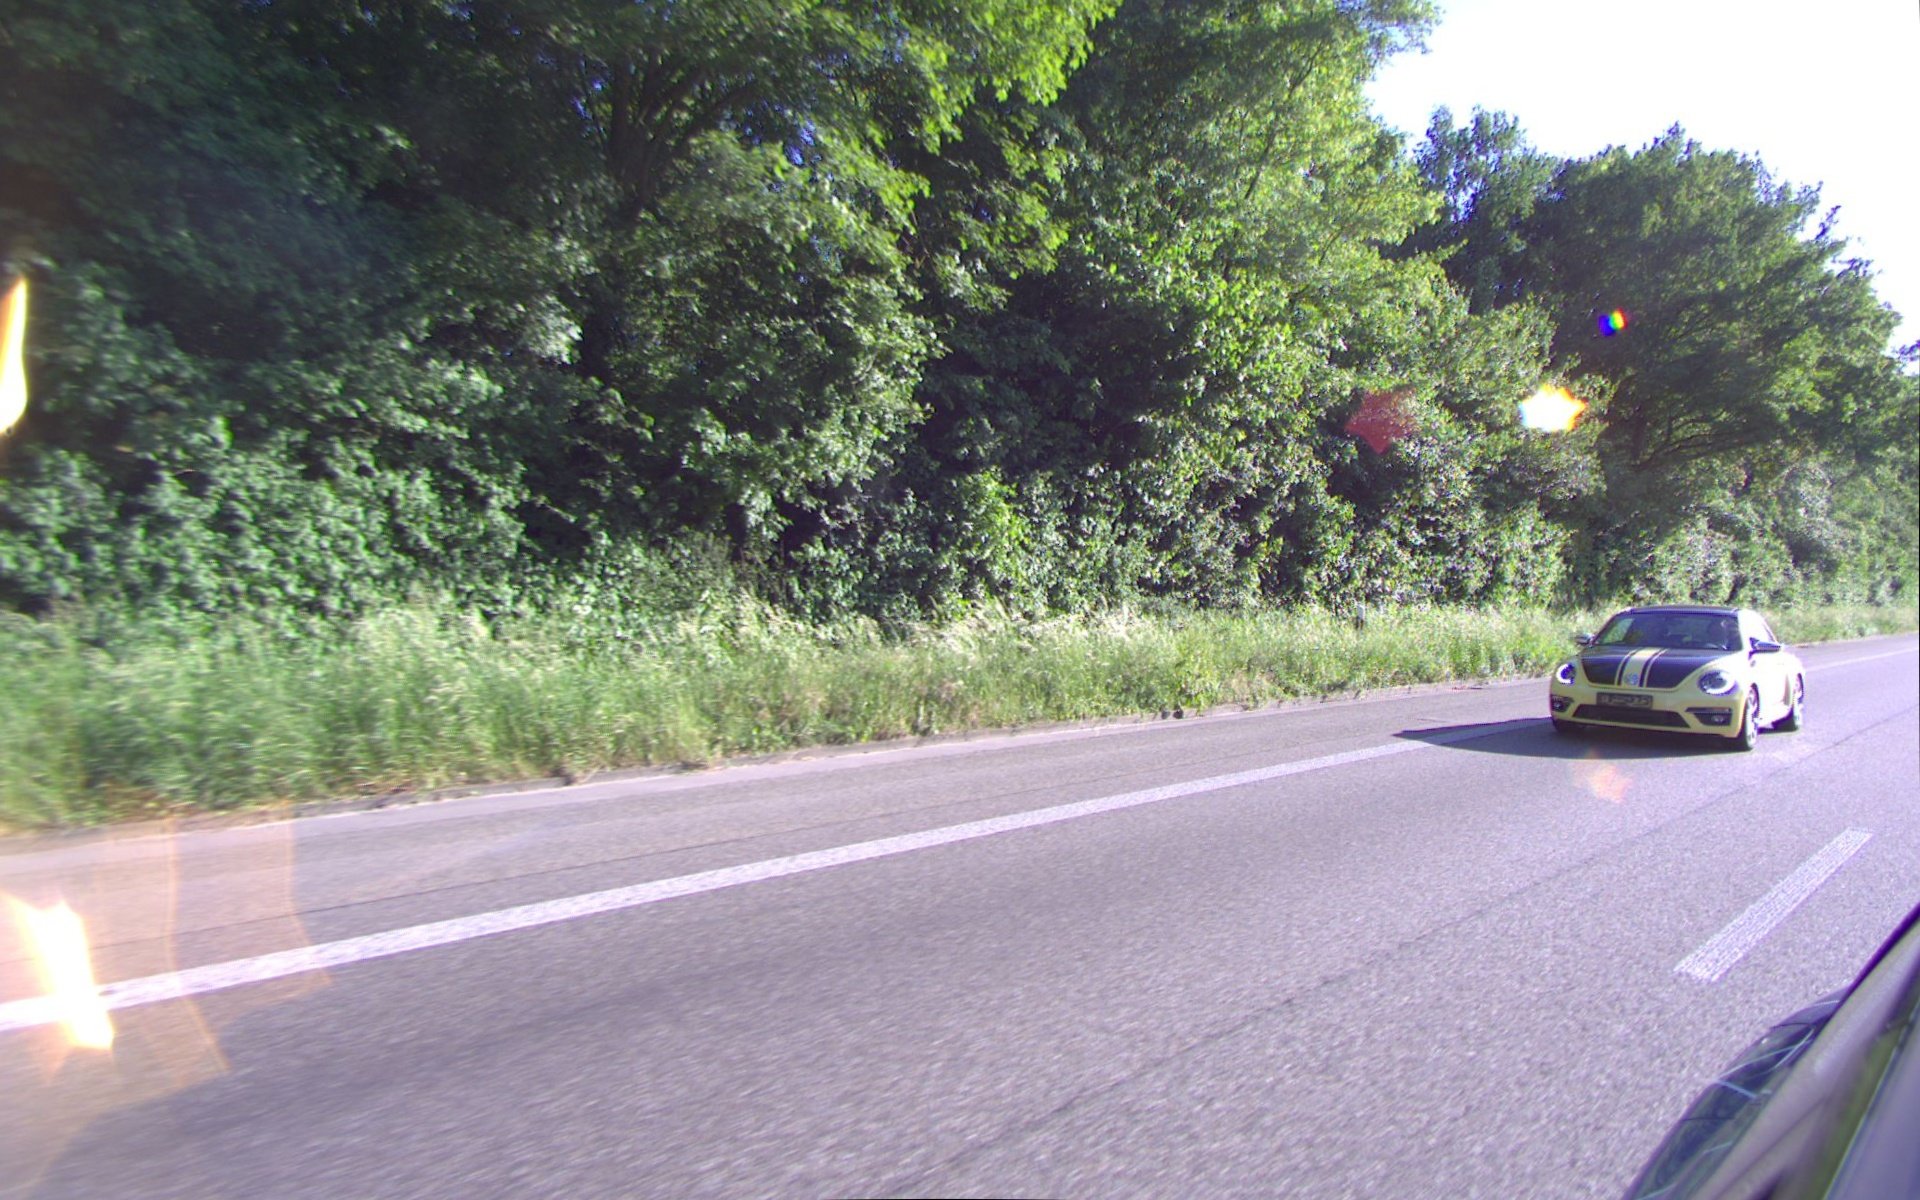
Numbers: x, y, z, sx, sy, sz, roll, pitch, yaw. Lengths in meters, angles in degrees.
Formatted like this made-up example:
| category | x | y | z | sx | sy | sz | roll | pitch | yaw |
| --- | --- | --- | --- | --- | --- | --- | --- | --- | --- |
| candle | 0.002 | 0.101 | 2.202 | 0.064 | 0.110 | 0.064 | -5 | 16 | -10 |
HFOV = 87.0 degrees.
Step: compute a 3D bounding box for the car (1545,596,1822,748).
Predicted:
| category | x | y | z | sx | sy | sz | roll | pitch | yaw |
| --- | --- | --- | --- | --- | --- | --- | --- | --- | --- |
| car | 8.433 | 0.690 | 11.684 | 3.810 | 1.467 | 1.793 | 0 | 0 | -41 |
